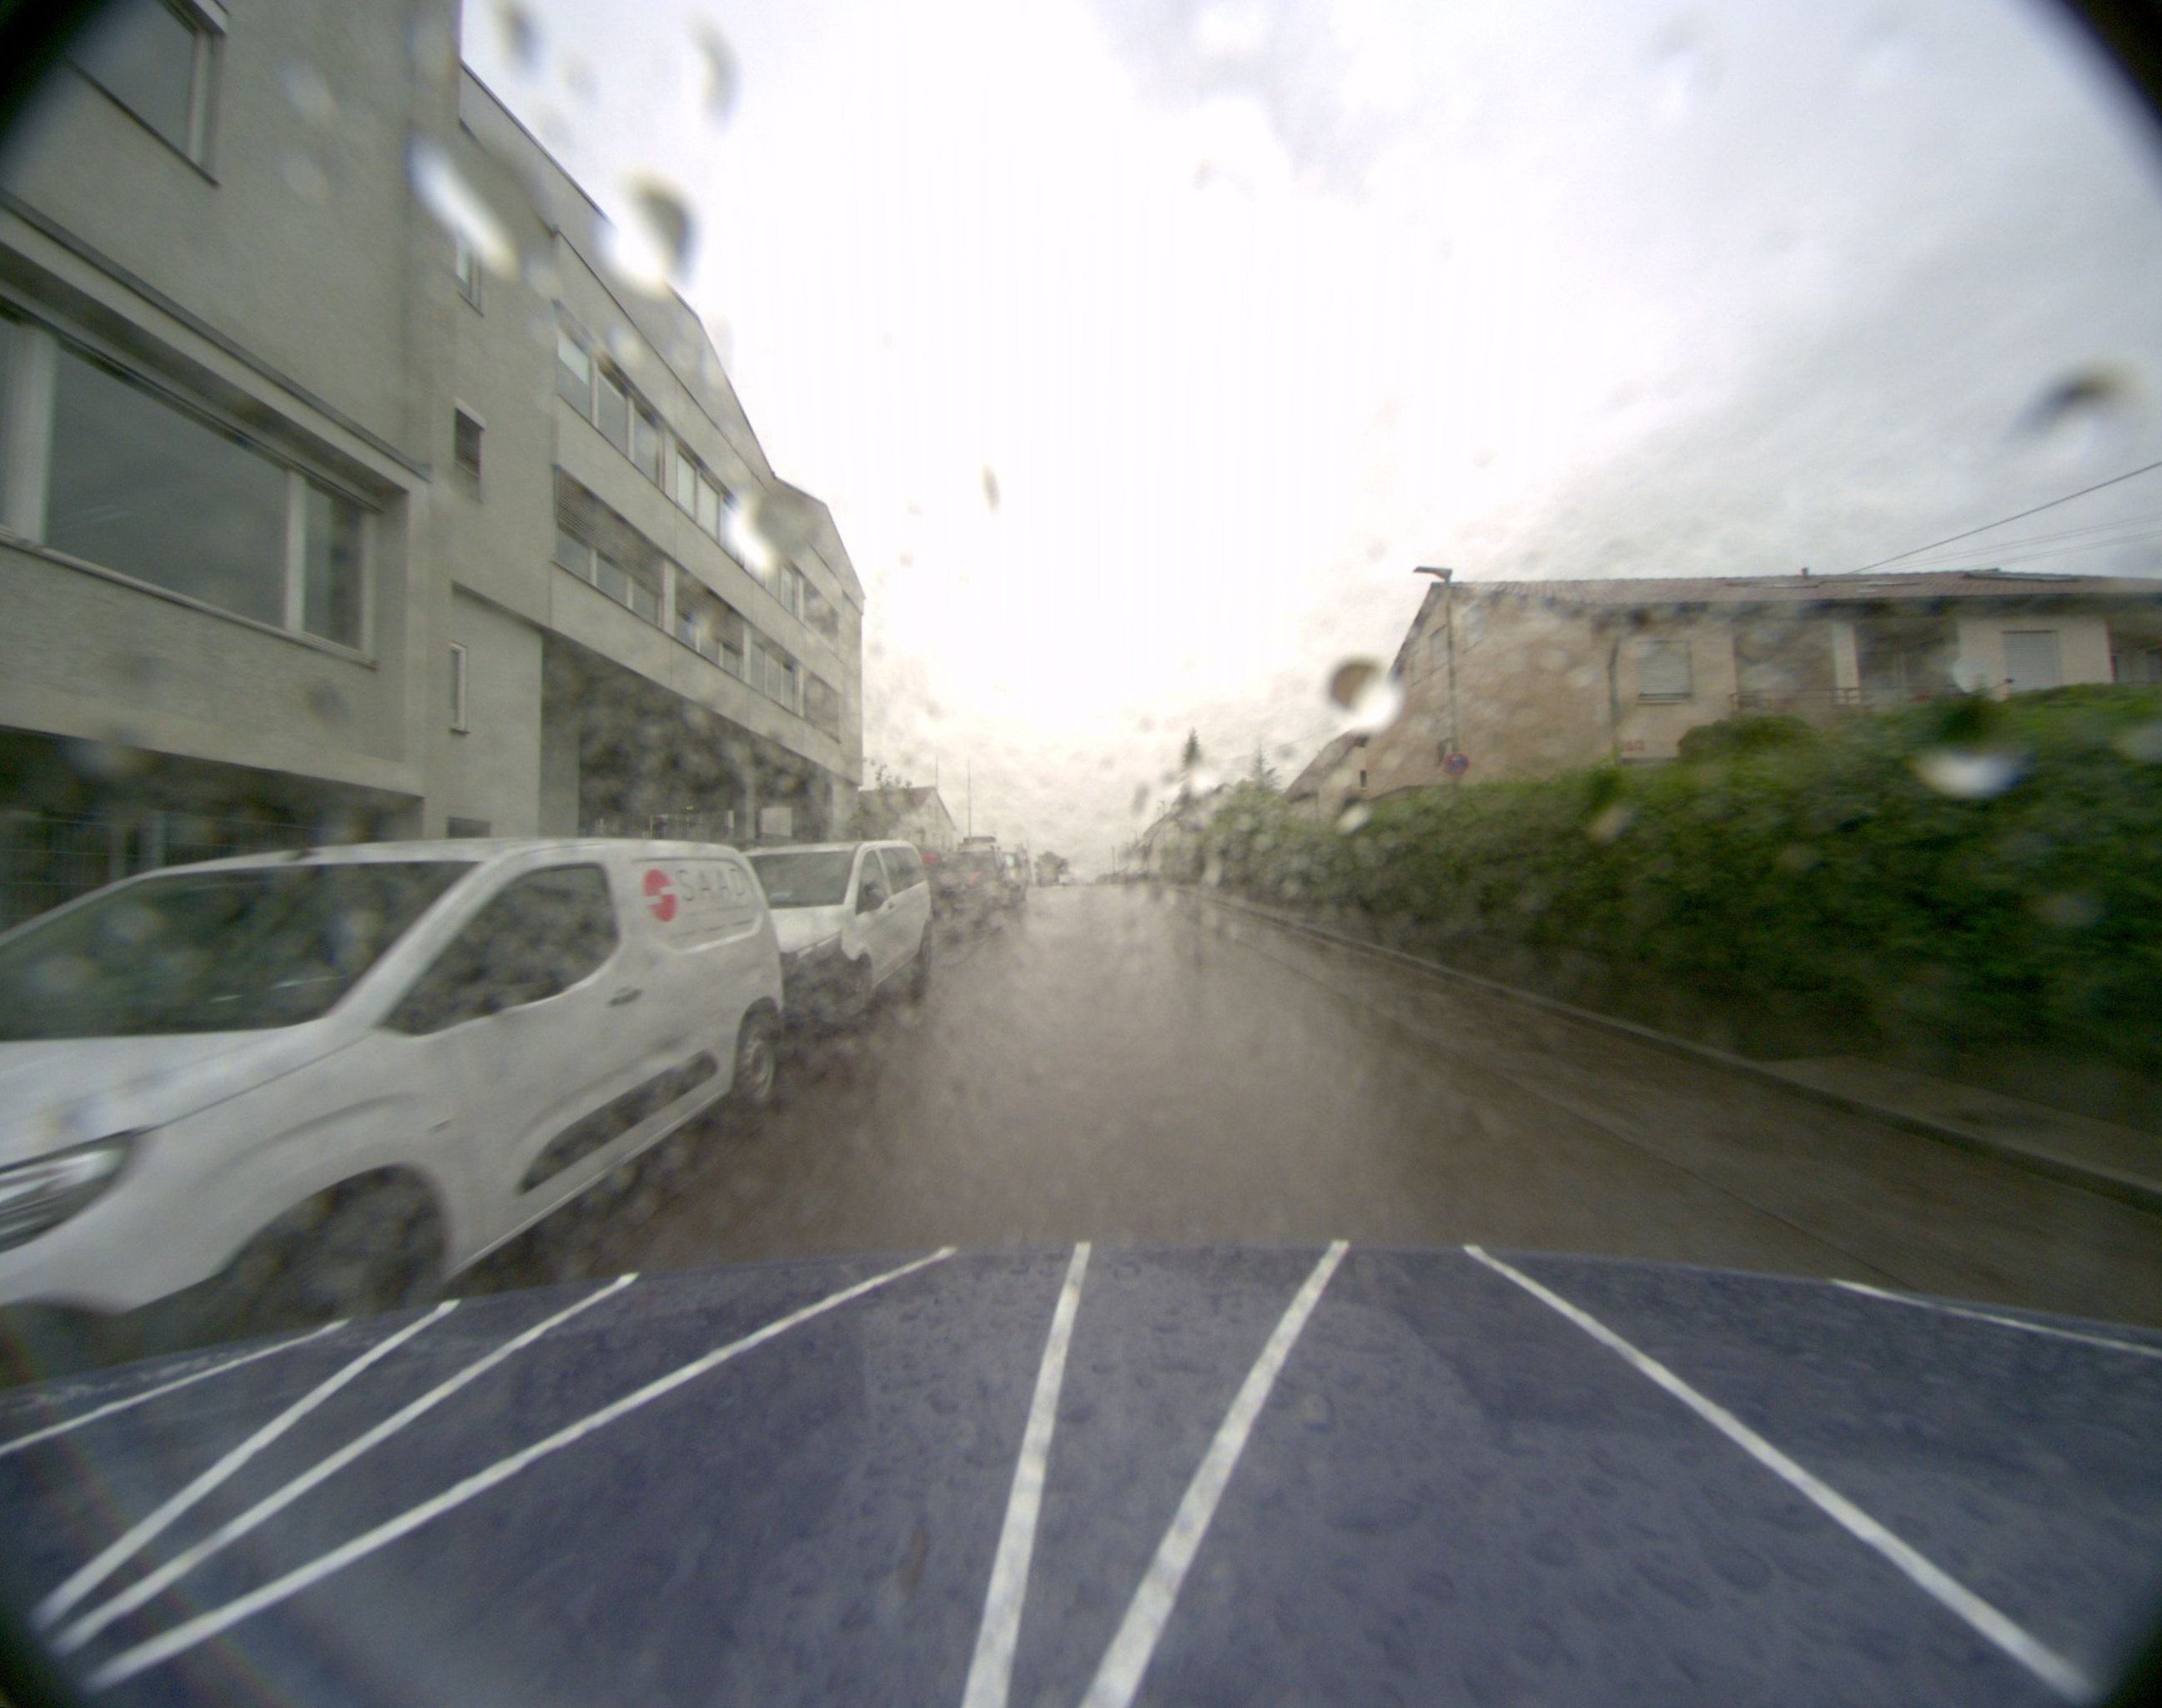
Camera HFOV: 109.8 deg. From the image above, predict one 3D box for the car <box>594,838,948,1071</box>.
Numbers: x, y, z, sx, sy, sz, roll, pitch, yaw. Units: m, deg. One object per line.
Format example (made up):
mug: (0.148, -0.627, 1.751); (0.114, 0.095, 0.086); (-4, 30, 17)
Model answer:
car: (-3.054, 0.860, 8.903); (1.998, 1.923, 4.976); (-1, 0, 1)

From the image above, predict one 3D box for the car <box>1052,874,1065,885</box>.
car: (-3.268, 3.715, 111.041); (1.898, 1.537, 4.000); (0, -2, -2)

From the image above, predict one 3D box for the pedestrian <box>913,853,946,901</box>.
pedestrian: (-5.654, 0.865, 28.423); (1.026, 1.748, 1.031); (0, -1, -2)

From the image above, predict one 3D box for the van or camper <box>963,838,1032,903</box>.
van or camper: (-3.066, 0.602, 28.963); (1.999, 2.229, 5.441); (-1, 0, 0)

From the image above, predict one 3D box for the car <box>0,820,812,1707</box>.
car: (-2.944, 0.875, 3.265); (1.883, 1.823, 4.489); (-1, 0, 1)

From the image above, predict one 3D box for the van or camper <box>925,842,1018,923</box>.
van or camper: (-3.073, 0.767, 22.474); (1.999, 2.101, 5.202); (-1, -1, 0)
